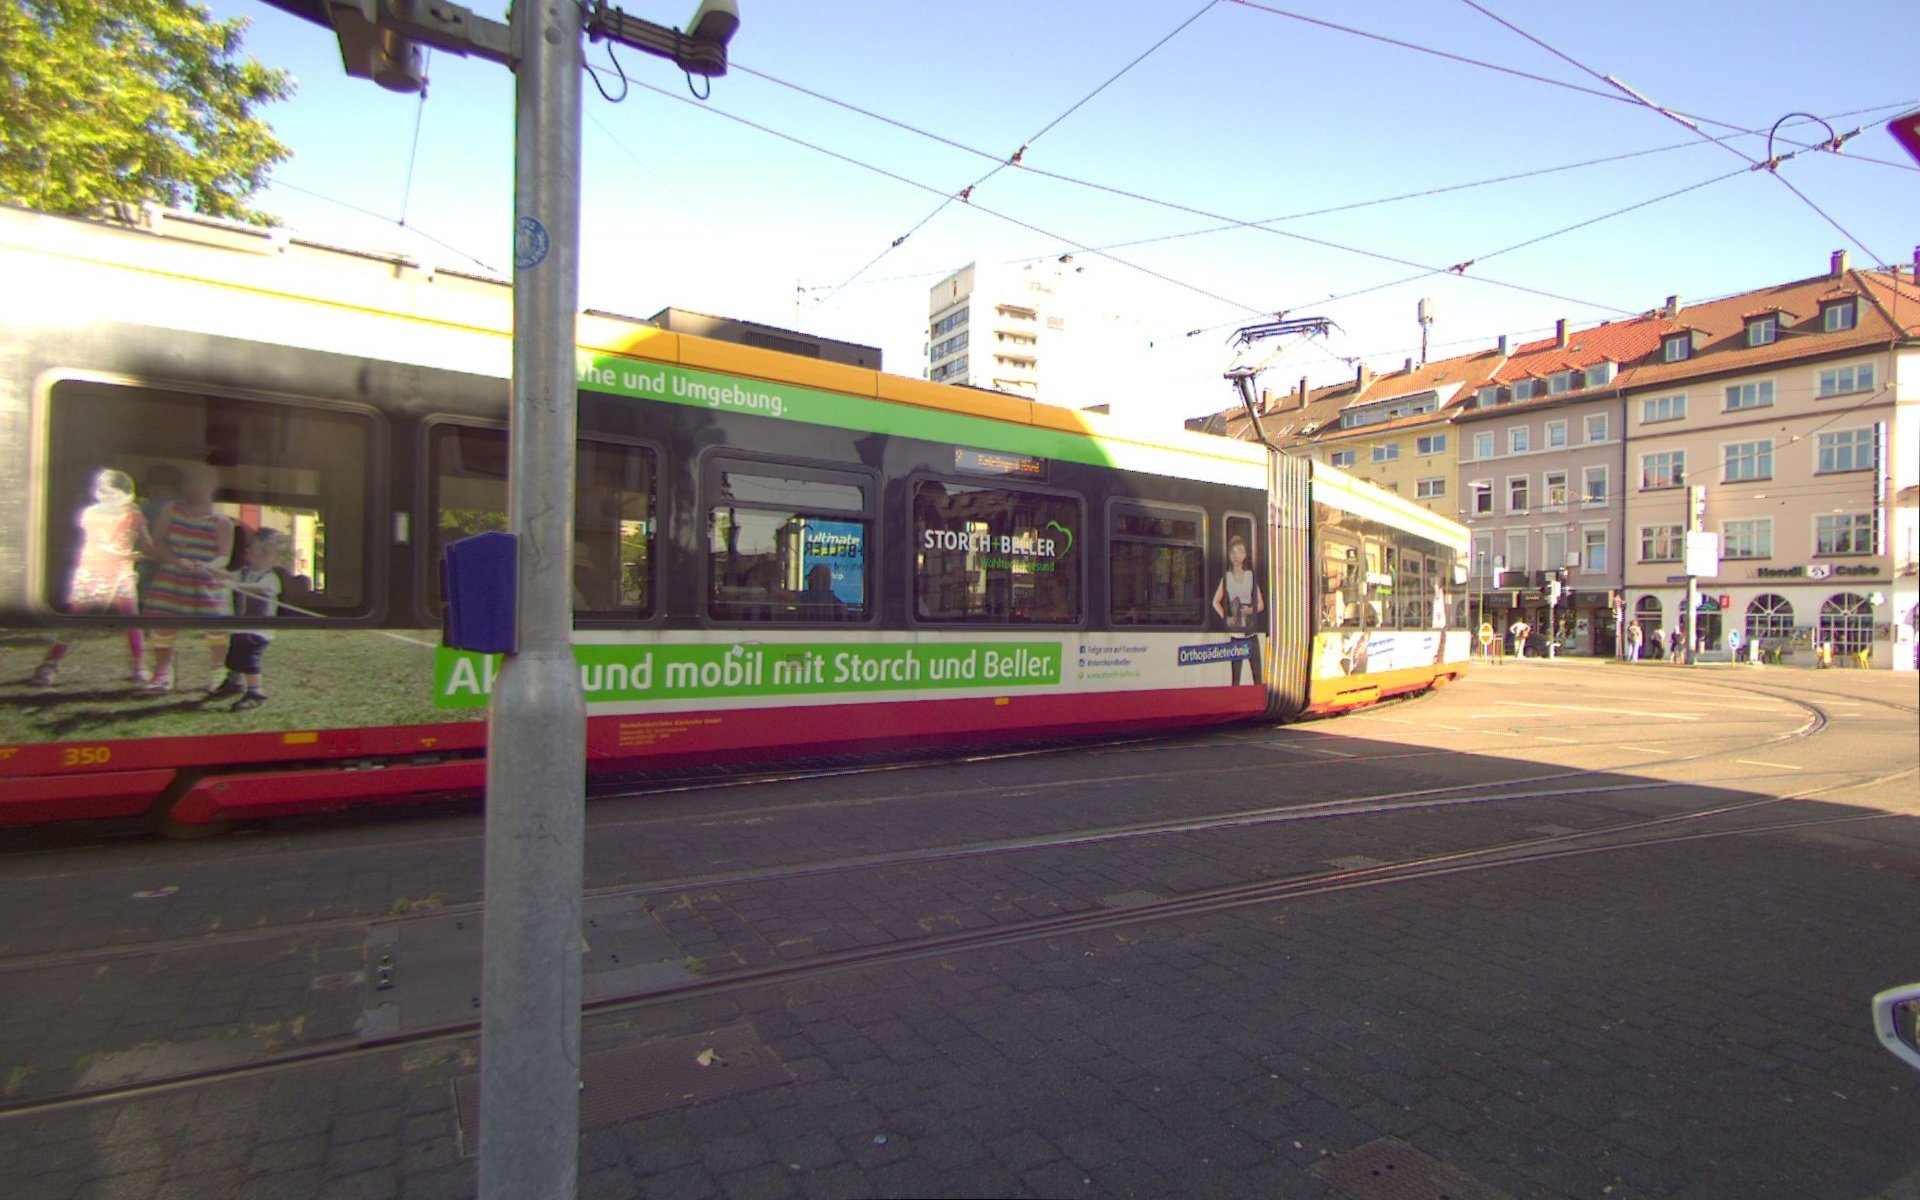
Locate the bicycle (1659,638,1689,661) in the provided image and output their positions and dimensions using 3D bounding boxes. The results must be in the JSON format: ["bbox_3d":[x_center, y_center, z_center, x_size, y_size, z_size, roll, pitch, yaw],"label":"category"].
[{"bbox_3d":[34.152,2.362,48.027,1.479,1.091,0.570,2,0,-30],"label":"bicycle"}]

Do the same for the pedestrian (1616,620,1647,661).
[{"bbox_3d":[26.598,1.597,39.810,0.817,1.598,0.552,2,0,-2],"label":"pedestrian"}]

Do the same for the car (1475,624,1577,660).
[{"bbox_3d":[30.826,2.284,54.848,2.277,1.734,4.350,2,0,-27],"label":"car"}]

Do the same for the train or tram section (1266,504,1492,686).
[{"bbox_3d":[10.780,-0.017,27.490,2.882,3.864,12.129,1,-1,9],"label":"train or tram section"}]

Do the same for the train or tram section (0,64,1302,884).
[{"bbox_3d":[-2.237,-0.501,8.332,12.934,3.864,2.910,2,-1,-37],"label":"train or tram section"}]

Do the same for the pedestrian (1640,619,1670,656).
[{"bbox_3d":[30.994,1.664,44.808,0.816,1.598,0.728,2,0,4],"label":"pedestrian"}]

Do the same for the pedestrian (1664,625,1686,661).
[{"bbox_3d":[34.187,2.064,48.040,0.743,1.692,0.579,2,0,-30],"label":"pedestrian"}]

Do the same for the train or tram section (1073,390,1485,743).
[{"bbox_3d":[6.316,-0.237,17.062,2.893,3.864,12.778,0,-1,35],"label":"train or tram section"}]

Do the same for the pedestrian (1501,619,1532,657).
[{"bbox_3d":[24.380,1.661,43.992,0.821,1.598,0.847,2,0,-20],"label":"pedestrian"}]
